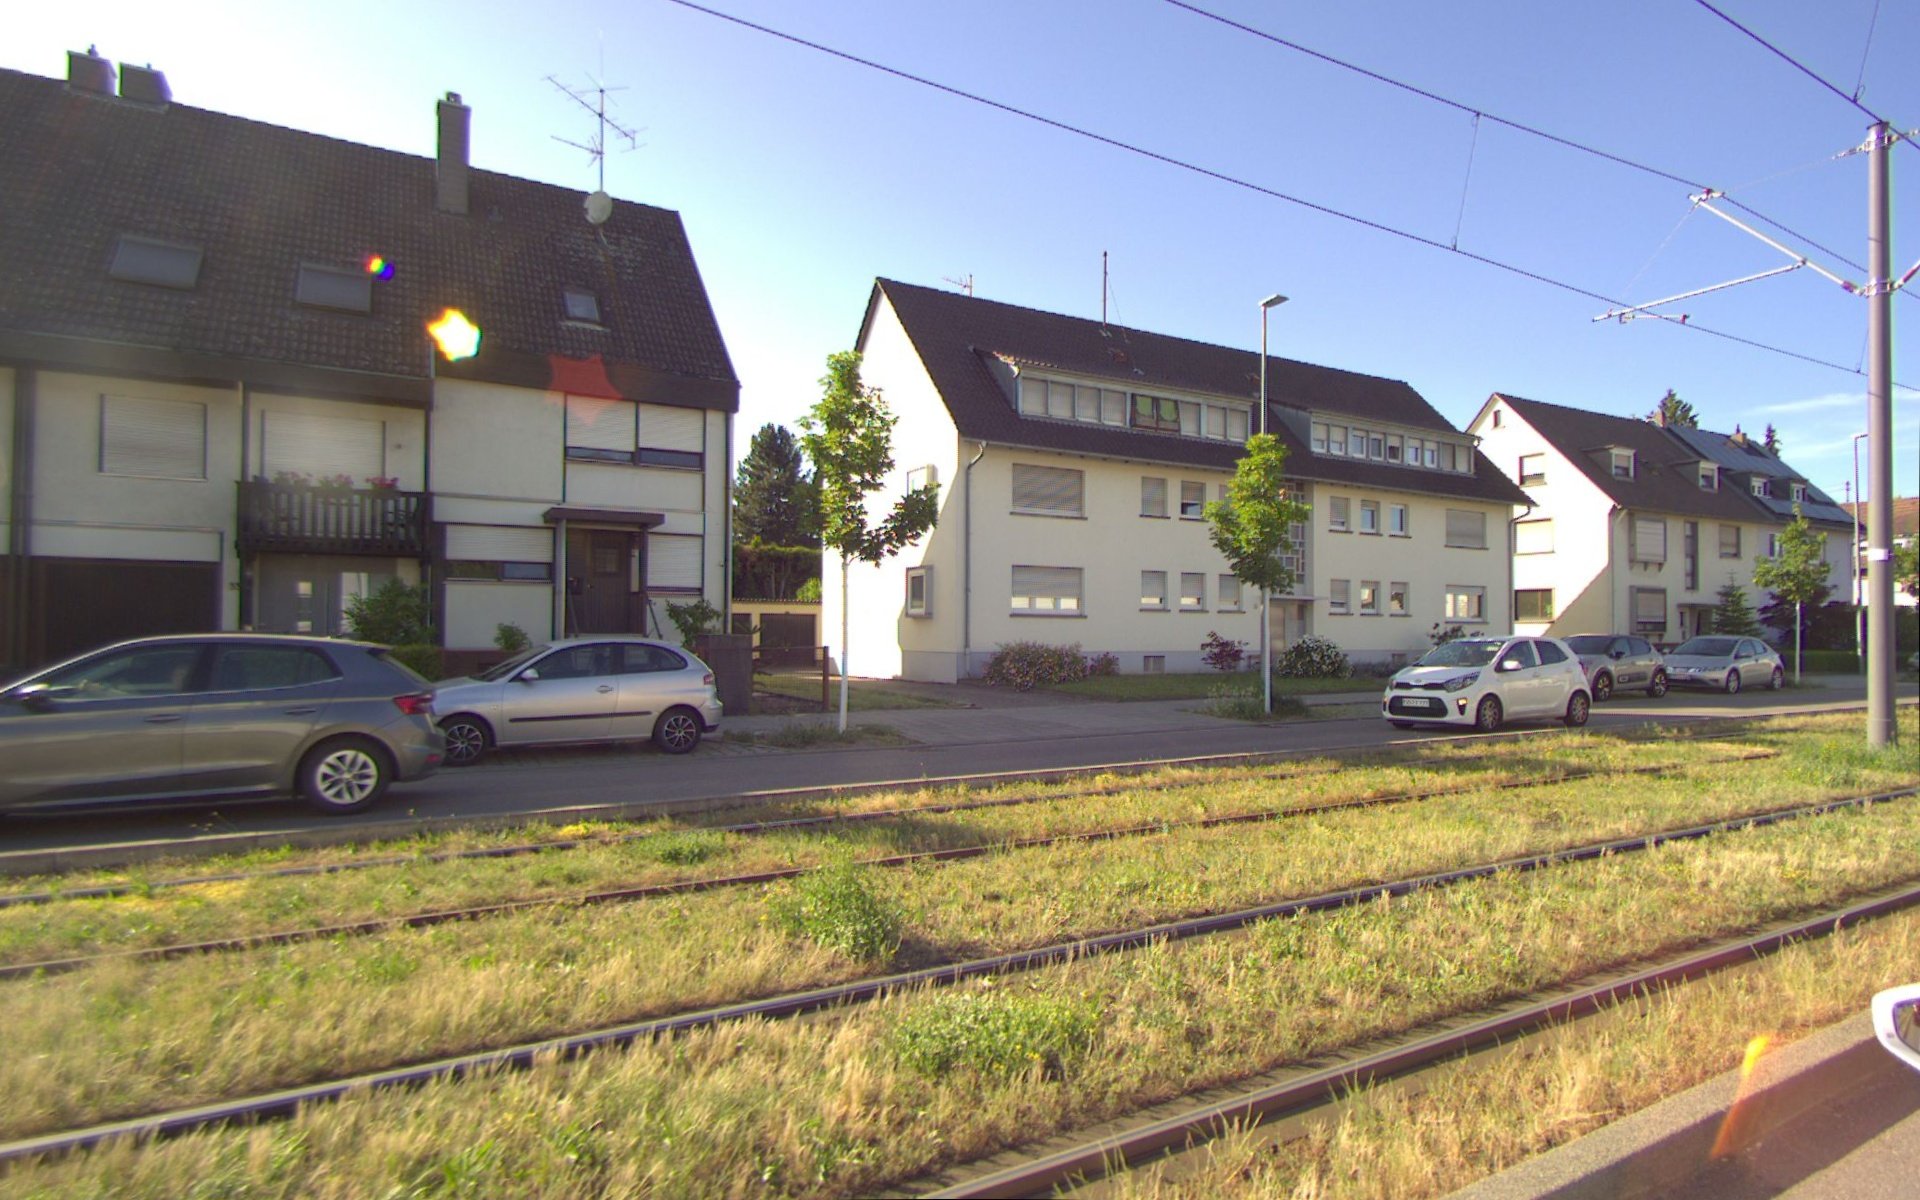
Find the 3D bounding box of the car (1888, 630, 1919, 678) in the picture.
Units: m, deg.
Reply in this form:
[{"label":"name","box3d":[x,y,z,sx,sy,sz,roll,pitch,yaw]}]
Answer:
[{"label":"car","box3d":[34.107,1.872,34.501,4.501,1.561,1.952,2,-1,-29]}]

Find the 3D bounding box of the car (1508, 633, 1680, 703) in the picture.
[{"label":"car","box3d":[15.031,1.564,23.782,4.264,1.492,1.680,2,-1,-31]}]

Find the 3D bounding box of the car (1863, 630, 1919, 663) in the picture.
[{"label":"car","box3d":[45.600,2.230,47.818,1.674,1.480,3.611,1,-1,-33]}]

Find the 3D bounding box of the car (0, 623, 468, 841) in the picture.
[{"label":"car","box3d":[-6.271,0.981,8.094,4.036,1.494,1.681,2,-4,-30]}]

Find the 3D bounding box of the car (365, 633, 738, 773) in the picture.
[{"label":"car","box3d":[-4.974,1.155,12.427,4.055,1.455,1.650,1,-1,-31]}]

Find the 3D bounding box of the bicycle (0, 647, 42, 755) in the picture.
[{"label":"bicycle","box3d":[-11.486,1.121,11.138,1.845,1.178,0.476,1,0,-24]}]

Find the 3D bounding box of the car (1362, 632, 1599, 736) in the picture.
[{"label":"car","box3d":[8.376,1.294,16.119,3.637,1.494,1.681,2,-4,-30]}]

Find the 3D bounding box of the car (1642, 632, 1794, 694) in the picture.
[{"label":"car","box3d":[20.189,1.629,26.698,4.391,1.495,1.680,2,-1,-31]}]
